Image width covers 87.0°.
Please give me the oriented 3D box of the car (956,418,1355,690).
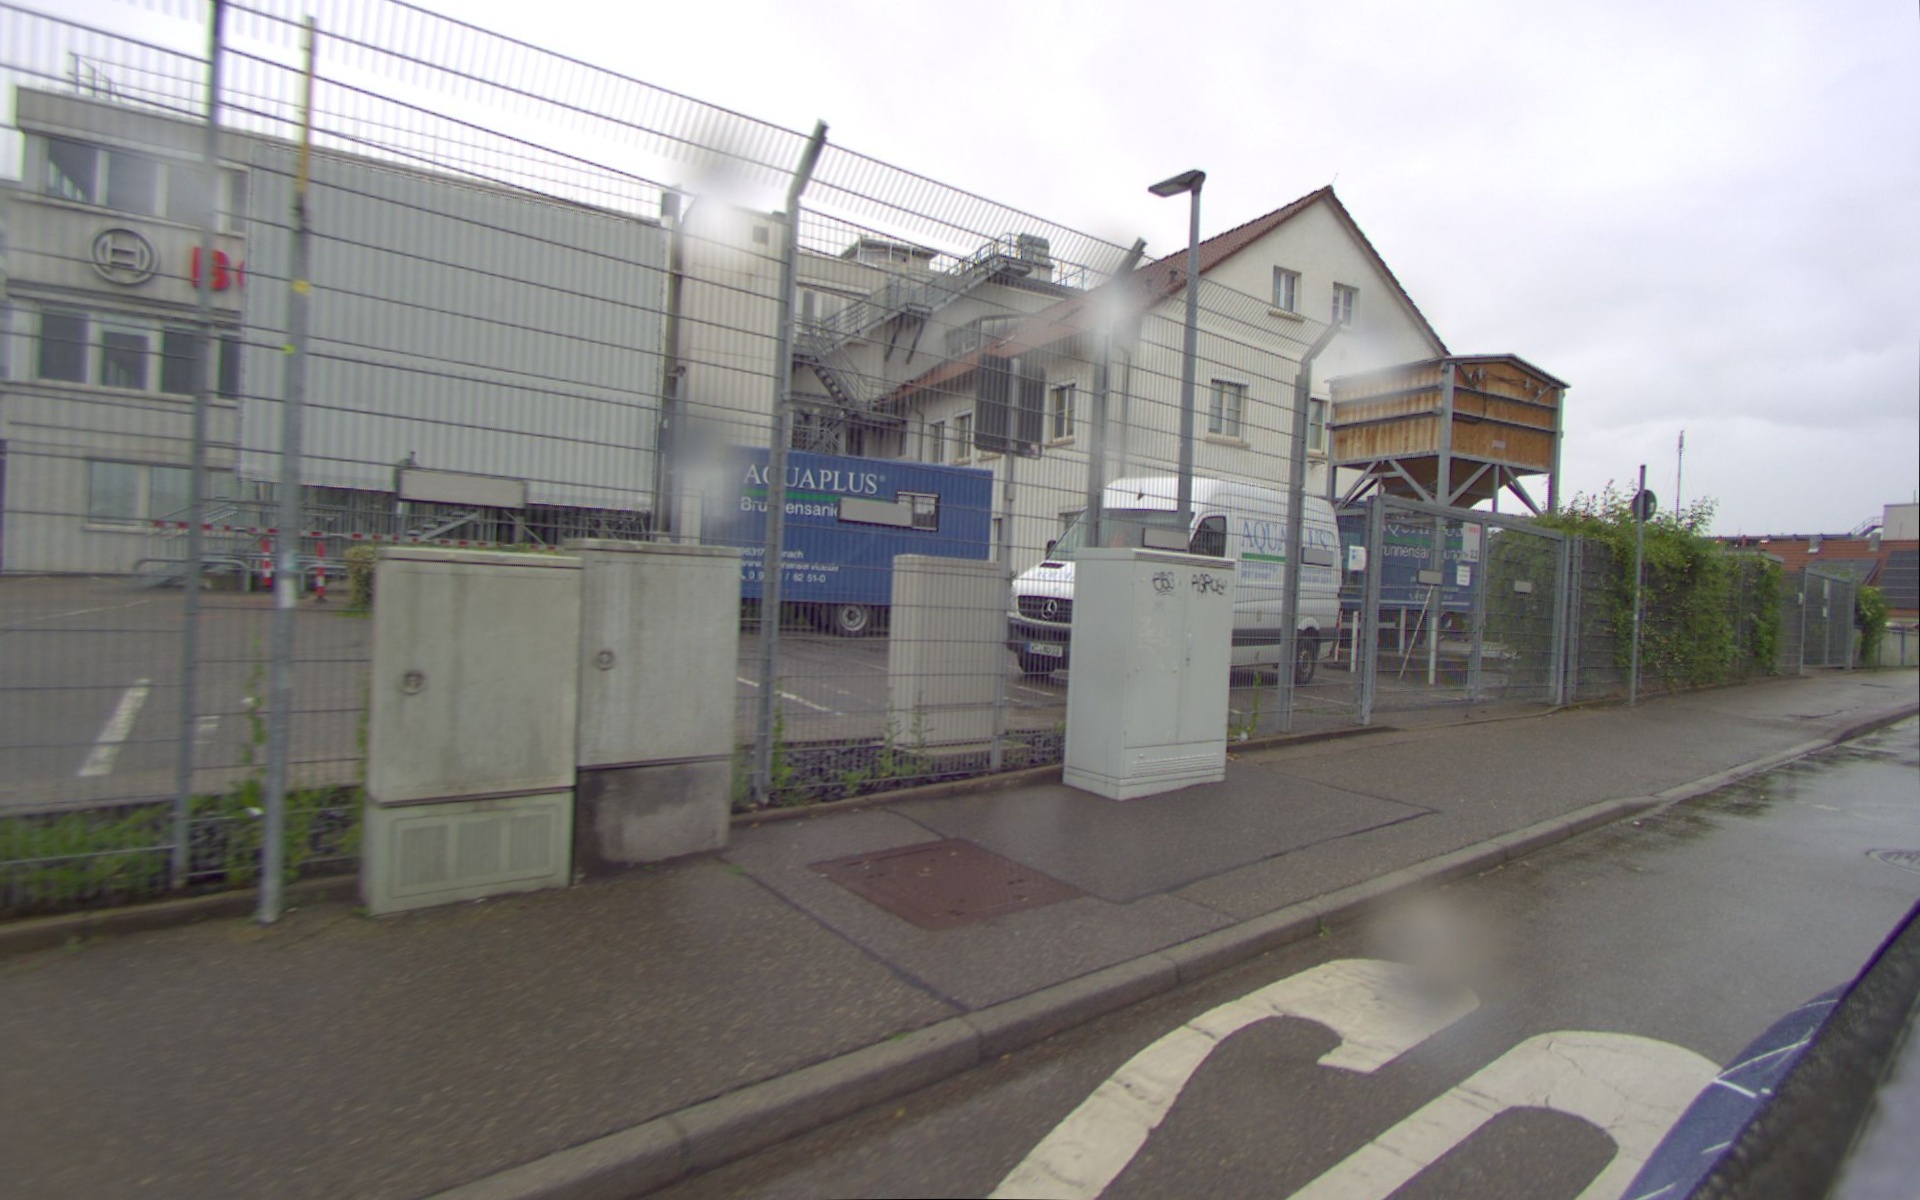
[{"bbox_3d":[2.779,-0.429,12.928,1.995,2.717,5.857,5,2,44],"label":"car"}]
